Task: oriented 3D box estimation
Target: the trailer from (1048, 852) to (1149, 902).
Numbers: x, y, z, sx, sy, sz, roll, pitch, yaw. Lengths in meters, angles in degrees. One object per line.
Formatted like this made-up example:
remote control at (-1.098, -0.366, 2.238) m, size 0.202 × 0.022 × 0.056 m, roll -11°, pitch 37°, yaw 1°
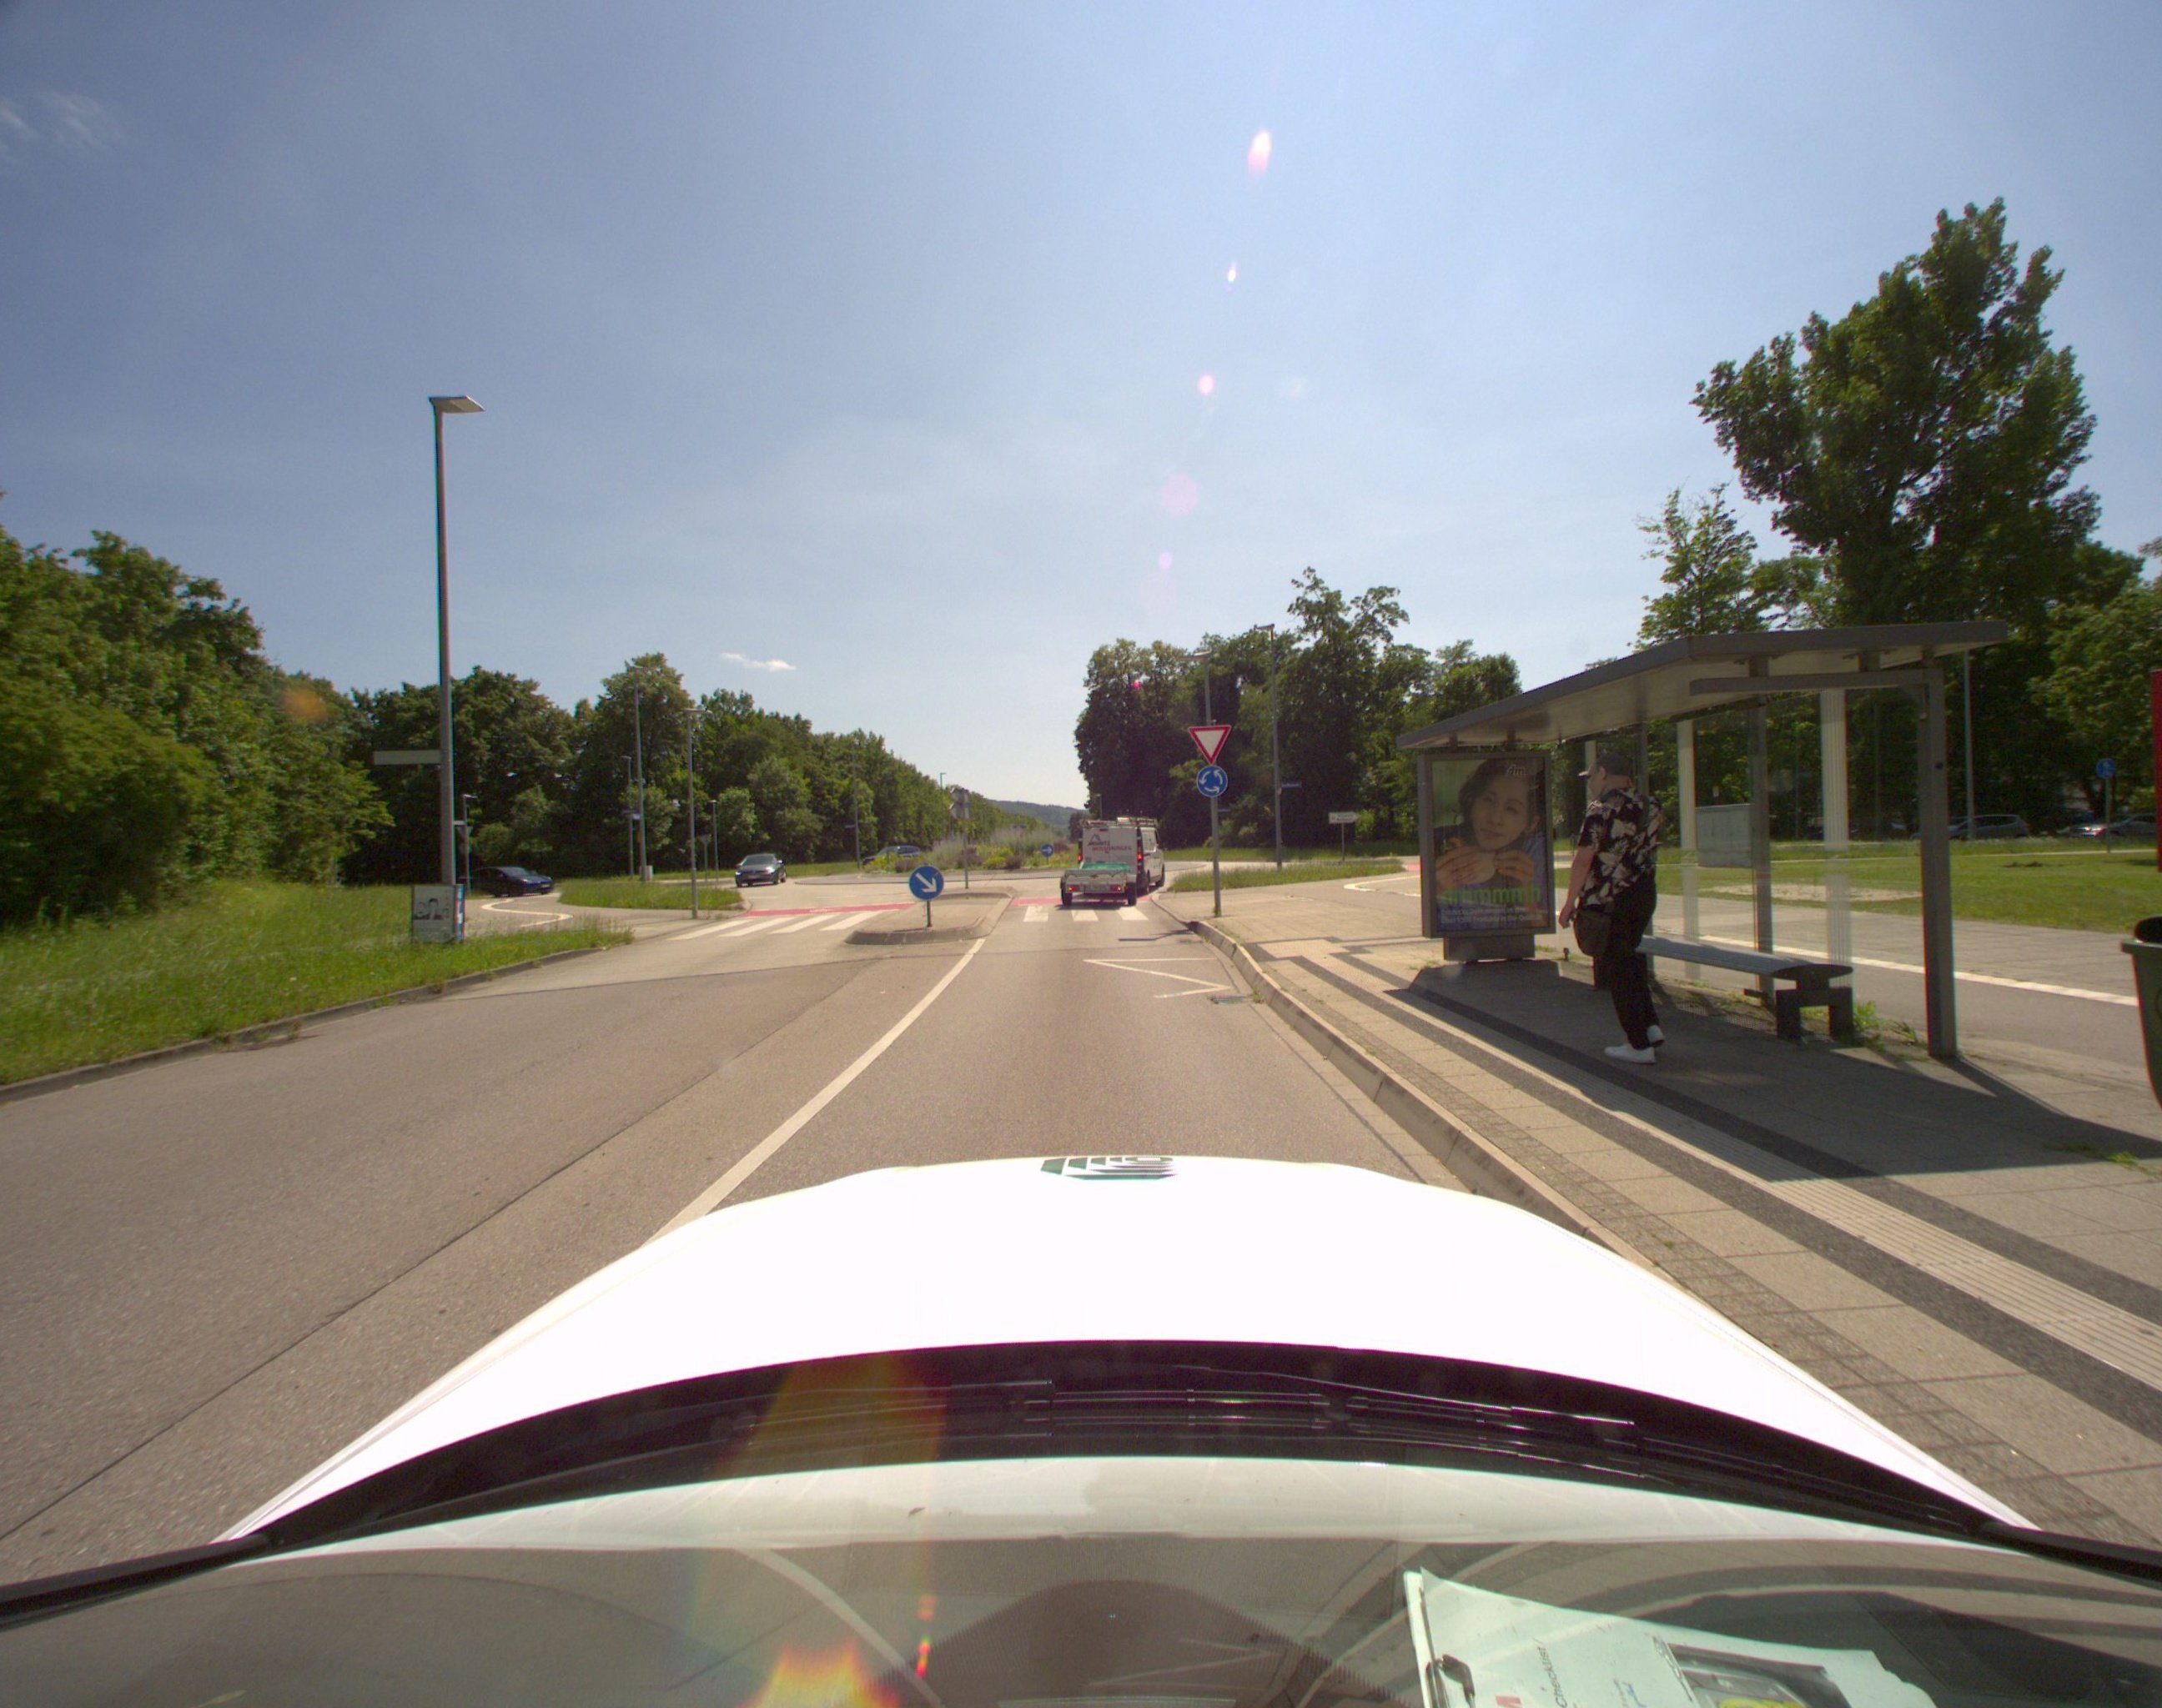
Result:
trailer at (0.531, 0.519, 20.269) m, size 2.109 × 1.097 × 3.362 m, roll -1°, pitch 0°, yaw 8°

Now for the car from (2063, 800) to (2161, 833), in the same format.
car at (50.819, -1.826, 39.580) m, size 3.969 × 1.485 × 1.706 m, roll -1°, pitch 3°, yaw 4°

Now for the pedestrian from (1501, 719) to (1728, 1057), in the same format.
pedestrian at (3.165, 0.187, 4.919) m, size 0.706 × 1.822 × 0.826 m, roll -4°, pitch 0°, yaw -1°

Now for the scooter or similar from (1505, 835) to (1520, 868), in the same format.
scooter or similar at (15.892, -0.104, 30.001) m, size 0.442 × 1.201 × 1.407 m, roll -1°, pitch 0°, yaw 27°

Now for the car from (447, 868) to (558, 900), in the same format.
car at (-29.779, 1.534, 41.956) m, size 4.519 × 1.494 × 1.965 m, roll -1°, pitch 0°, yaw 9°

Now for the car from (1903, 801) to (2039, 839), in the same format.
car at (41.234, -1.567, 37.825) m, size 4.091 × 1.606 × 1.794 m, roll -1°, pitch 0°, yaw 7°

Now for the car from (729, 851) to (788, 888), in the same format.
car at (-14.720, 0.657, 37.376) m, size 1.998 × 1.478 × 4.265 m, roll -4°, pitch 1°, yaw -16°

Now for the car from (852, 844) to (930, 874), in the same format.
car at (-11.839, 0.273, 50.940) m, size 1.975 × 1.595 × 4.349 m, roll -1°, pitch 3°, yaw 43°

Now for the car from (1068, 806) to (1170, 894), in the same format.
car at (1.272, -0.117, 24.276) m, size 2.151 × 2.316 × 4.999 m, roll -1°, pitch 0°, yaw 13°
